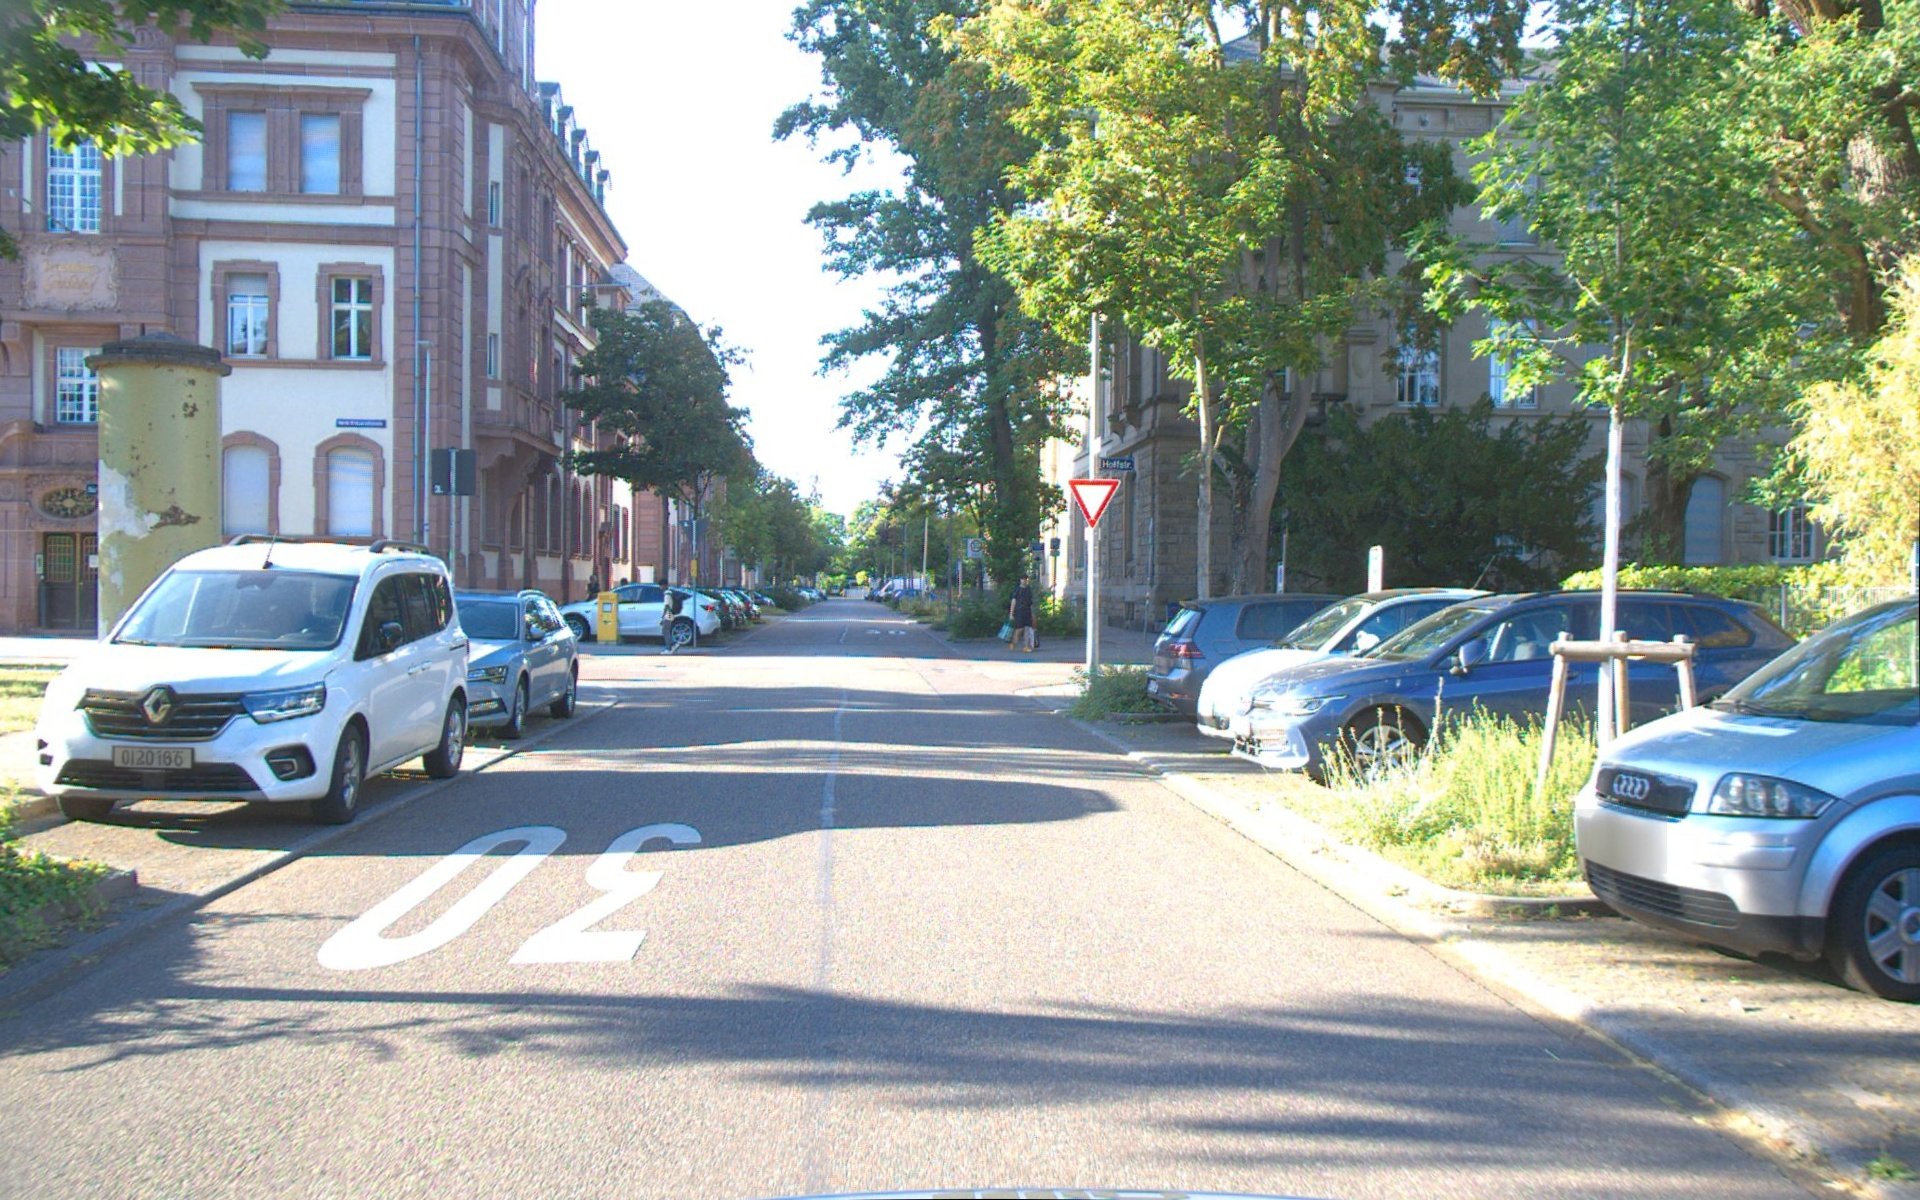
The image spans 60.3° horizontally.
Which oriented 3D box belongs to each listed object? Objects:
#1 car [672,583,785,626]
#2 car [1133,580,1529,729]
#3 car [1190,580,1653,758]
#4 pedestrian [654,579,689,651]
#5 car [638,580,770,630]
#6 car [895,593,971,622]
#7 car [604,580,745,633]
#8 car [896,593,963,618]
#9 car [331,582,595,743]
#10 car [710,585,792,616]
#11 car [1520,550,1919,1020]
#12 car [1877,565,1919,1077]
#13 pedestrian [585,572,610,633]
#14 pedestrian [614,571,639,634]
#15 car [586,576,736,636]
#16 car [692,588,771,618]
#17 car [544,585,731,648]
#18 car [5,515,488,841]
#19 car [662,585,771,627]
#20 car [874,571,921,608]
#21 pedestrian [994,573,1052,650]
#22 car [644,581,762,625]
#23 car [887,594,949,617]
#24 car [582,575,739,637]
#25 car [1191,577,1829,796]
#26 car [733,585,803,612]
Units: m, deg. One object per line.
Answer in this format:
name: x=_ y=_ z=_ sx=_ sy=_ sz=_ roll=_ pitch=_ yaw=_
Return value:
car: x=-9.264 y=0.166 z=66.582 sx=4.396 sy=1.636 sz=1.840 roll=1 pitch=0 yaw=-6
car: x=3.954 y=0.592 z=18.095 sx=3.875 sy=1.543 sz=1.872 roll=0 pitch=-2 yaw=-3
car: x=4.220 y=0.614 z=15.534 sx=3.873 sy=1.543 sz=1.674 roll=1 pitch=0 yaw=-1
pedestrian: x=-6.701 y=0.354 z=38.439 sx=0.770 sy=1.634 sz=0.719 roll=1 pitch=-1 yaw=-10
car: x=-8.886 y=0.181 z=57.713 sx=4.396 sy=1.636 sz=1.840 roll=1 pitch=0 yaw=-6
car: x=-1.612 y=0.452 z=97.777 sx=4.396 sy=1.636 sz=1.840 roll=1 pitch=0 yaw=-6
car: x=-9.353 y=0.216 z=54.434 sx=4.396 sy=1.636 sz=1.840 roll=1 pitch=0 yaw=-6
car: x=-2.152 y=0.361 z=115.201 sx=4.494 sy=1.636 sz=1.840 roll=1 pitch=0 yaw=-6
car: x=-5.298 y=0.600 z=18.264 sx=1.745 sy=1.531 sz=4.550 roll=1 pitch=0 yaw=-3
car: x=-11.488 y=0.038 z=91.065 sx=4.396 sy=1.636 sz=1.840 roll=1 pitch=0 yaw=-6
car: x=4.370 y=0.644 z=6.941 sx=3.434 sy=1.612 sz=1.756 roll=1 pitch=0 yaw=-14
car: x=4.788 y=0.693 z=4.555 sx=3.611 sy=1.550 sz=1.789 roll=1 pitch=0 yaw=-7
pedestrian: x=-12.067 y=0.094 z=55.035 sx=0.704 sy=1.996 sz=0.786 roll=1 pitch=-1 yaw=-6
pedestrian: x=-10.639 y=0.081 z=52.771 sx=0.771 sy=1.996 sz=0.718 roll=1 pitch=-1 yaw=-12
car: x=-9.195 y=0.179 z=51.081 sx=4.396 sy=1.747 sz=1.840 roll=1 pitch=0 yaw=-6
car: x=-13.120 y=0.165 z=95.283 sx=4.396 sy=1.636 sz=1.840 roll=1 pitch=0 yaw=-6
car: x=-8.582 y=0.430 z=44.406 sx=4.749 sy=1.622 sz=1.840 roll=1 pitch=0 yaw=-6
car: x=-4.767 y=0.441 z=11.842 sx=1.746 sy=1.873 sz=4.549 roll=1 pitch=0 yaw=-4
car: x=-10.173 y=0.248 z=69.411 sx=4.396 sy=1.636 sz=1.840 roll=1 pitch=0 yaw=-6
car: x=-6.455 y=-1.079 z=170.718 sx=4.790 sy=3.681 sz=1.840 roll=1 pitch=0 yaw=-5
pedestrian: x=1.575 y=0.278 z=41.526 sx=1.052 sy=1.890 sz=0.990 roll=1 pitch=0 yaw=-35
car: x=-9.918 y=0.120 z=64.022 sx=4.396 sy=1.636 sz=1.840 roll=1 pitch=0 yaw=-6
car: x=-3.154 y=0.396 z=123.433 sx=4.494 sy=1.636 sz=1.840 roll=1 pitch=0 yaw=-6
car: x=-8.799 y=0.163 z=48.939 sx=4.396 sy=1.747 sz=1.840 roll=1 pitch=0 yaw=-6
car: x=4.214 y=0.636 z=13.065 sx=4.405 sy=1.576 sz=1.888 roll=1 pitch=0 yaw=-7
car: x=-12.194 y=-0.098 z=105.308 sx=4.396 sy=1.636 sz=1.840 roll=1 pitch=0 yaw=-6
